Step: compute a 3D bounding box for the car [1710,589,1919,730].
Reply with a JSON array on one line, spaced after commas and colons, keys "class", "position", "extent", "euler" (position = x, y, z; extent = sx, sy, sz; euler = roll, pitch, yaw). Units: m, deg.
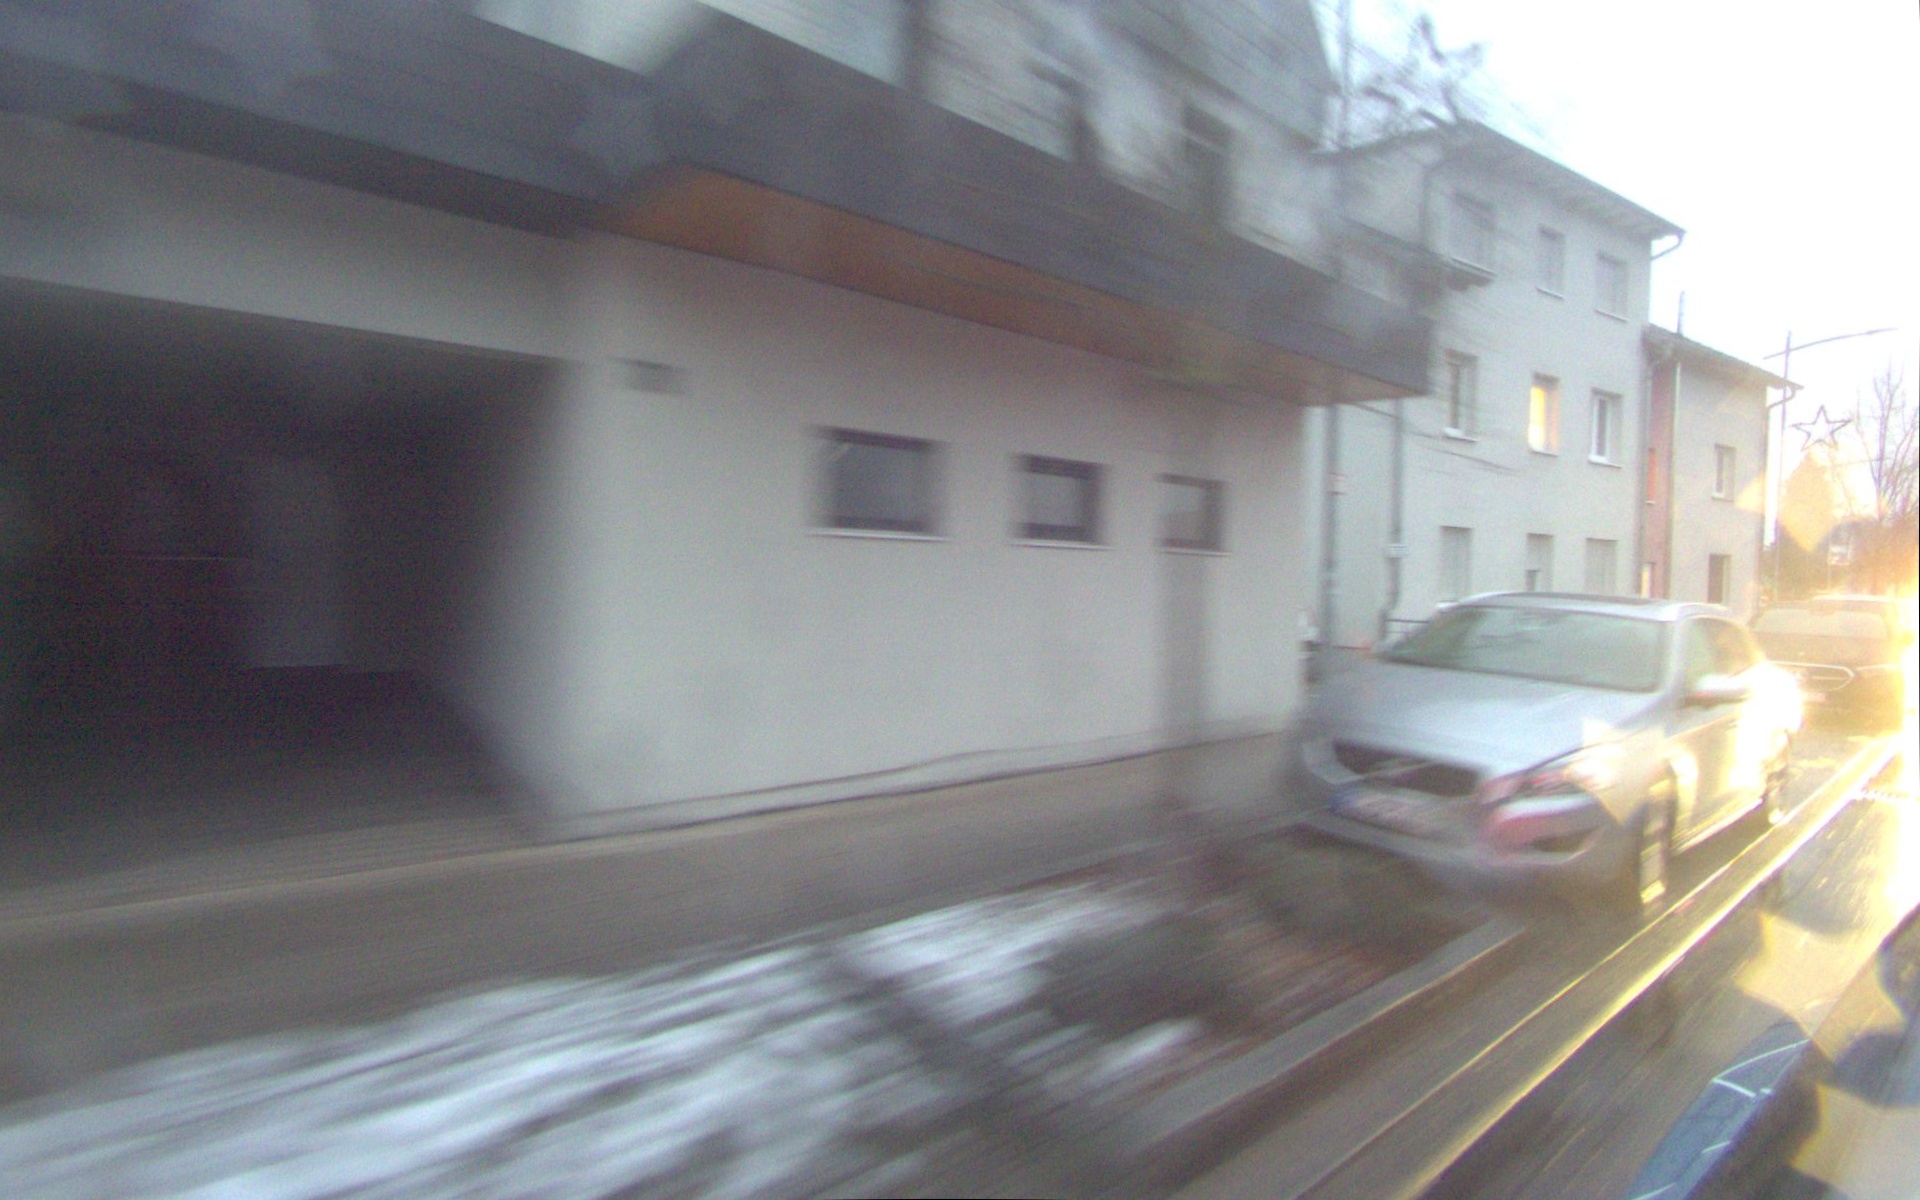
[{"class": "car", "position": [11.696, 0.663, 13.514], "extent": [4.927, 1.552, 1.957], "euler": [0, -1, -45]}]

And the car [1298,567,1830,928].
[{"class": "car", "position": [3.996, 0.619, 6.366], "extent": [4.165, 1.472, 1.655], "euler": [0, 4, -42]}]

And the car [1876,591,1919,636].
[{"class": "car", "position": [35.789, 0.481, 38.028], "extent": [1.808, 1.583, 4.235], "euler": [3, 2, 44]}]

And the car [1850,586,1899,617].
[{"class": "car", "position": [58.335, 0.066, 64.618], "extent": [1.907, 1.812, 4.504], "euler": [3, 2, 37]}]

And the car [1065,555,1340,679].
[{"class": "car", "position": [3.706, 0.175, 16.089], "extent": [1.771, 1.620, 4.021], "euler": [1, 3, -36]}]

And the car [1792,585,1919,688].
[{"class": "car", "position": [16.452, 0.572, 18.313], "extent": [4.423, 1.595, 1.666], "euler": [0, 2, -45]}]

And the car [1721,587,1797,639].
[{"class": "car", "position": [26.750, 0.376, 34.003], "extent": [1.803, 1.571, 4.248], "euler": [3, 2, 36]}]

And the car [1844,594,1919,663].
[{"class": "car", "position": [22.203, 0.637, 23.956], "extent": [1.703, 1.469, 4.125], "euler": [4, 2, 43]}]
